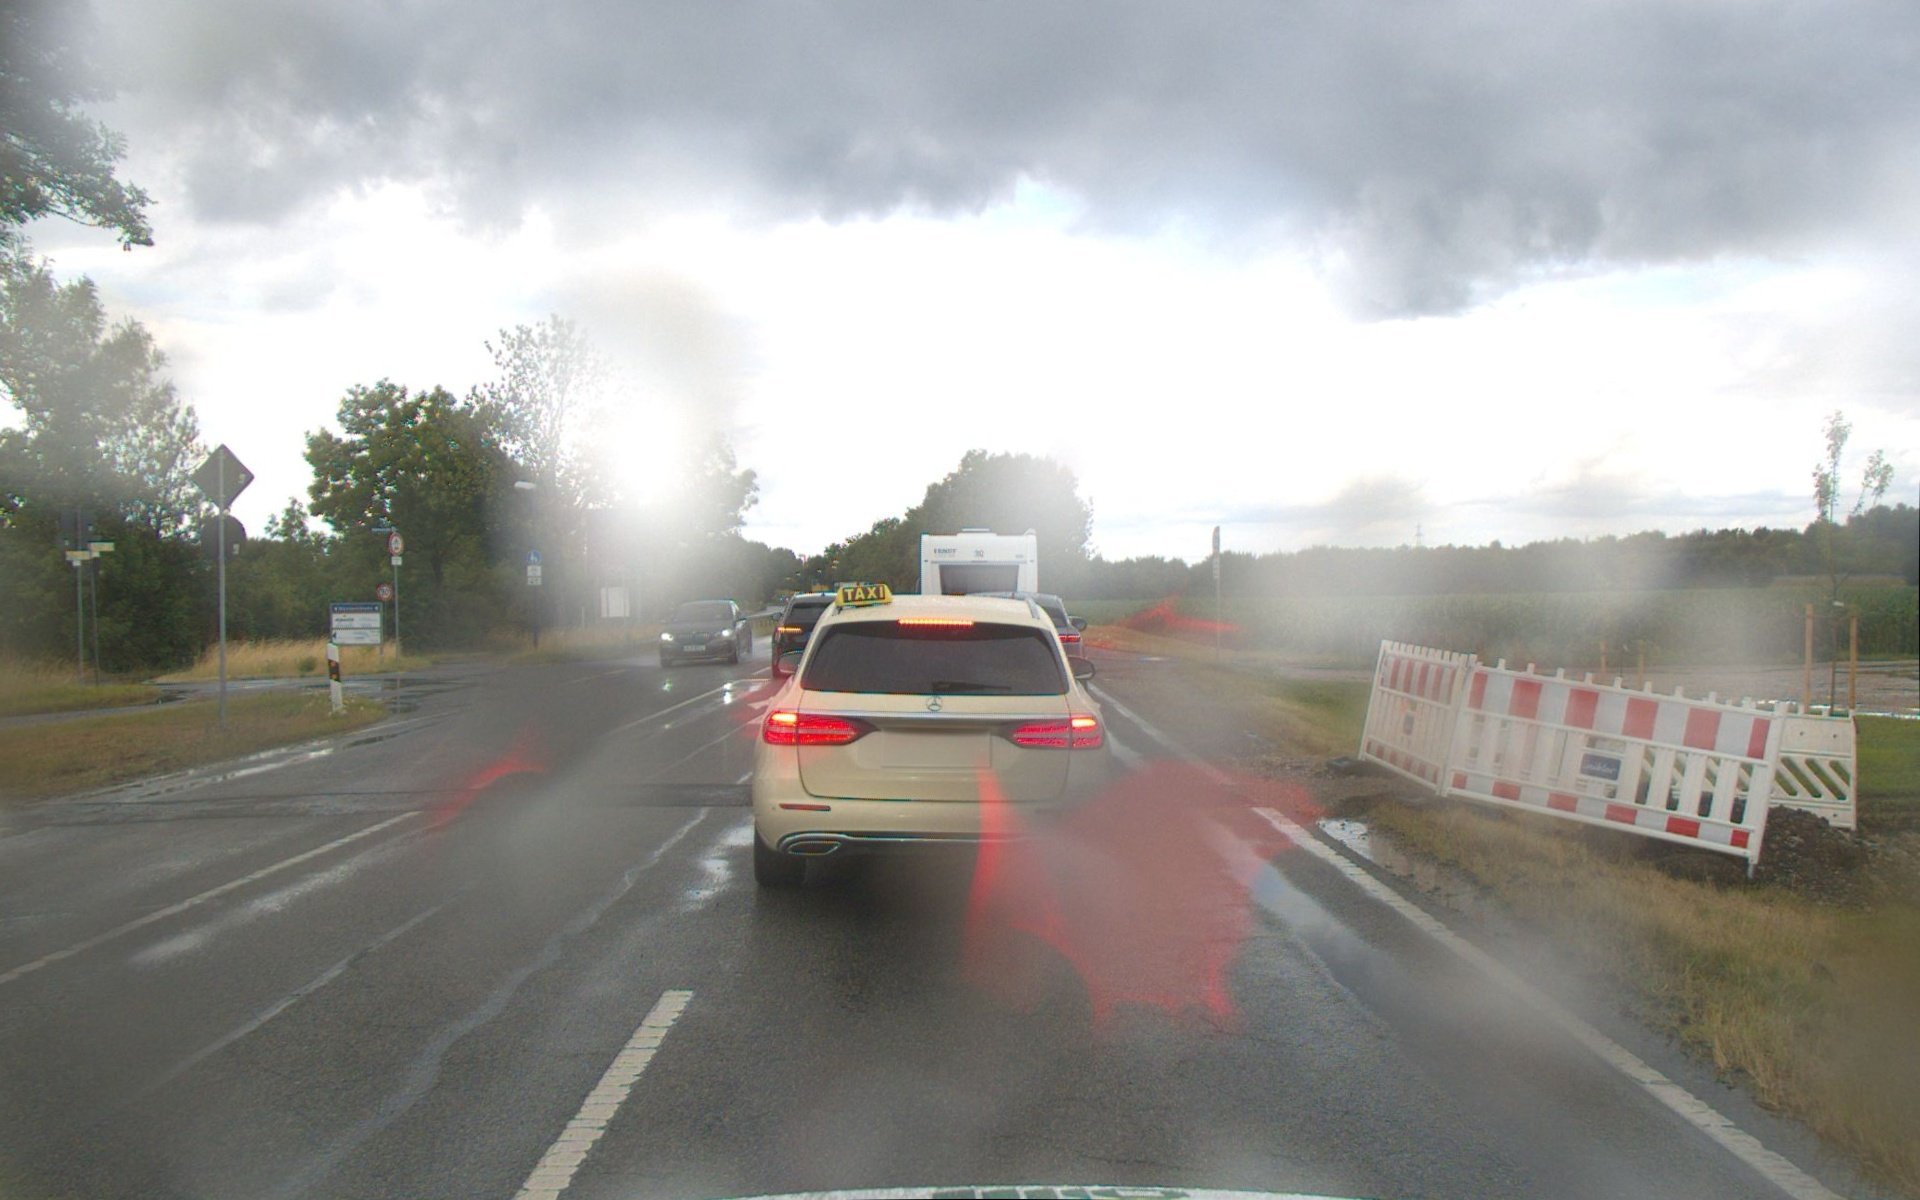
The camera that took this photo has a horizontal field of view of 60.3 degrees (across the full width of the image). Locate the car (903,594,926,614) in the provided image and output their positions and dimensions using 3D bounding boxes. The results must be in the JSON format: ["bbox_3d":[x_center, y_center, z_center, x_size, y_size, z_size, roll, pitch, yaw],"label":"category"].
[{"bbox_3d":[-4.341,0.342,156.884,1.954,1.803,3.996,-1,0,-5],"label":"car"}]

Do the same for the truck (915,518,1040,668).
[{"bbox_3d":[0.279,-0.145,34.919,2.315,2.776,7.313,-1,0,-1],"label":"truck"}]

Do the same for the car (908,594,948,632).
[{"bbox_3d":[-1.637,0.666,85.351,1.876,1.873,3.796,-1,0,1],"label":"car"}]

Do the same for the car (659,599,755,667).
[{"bbox_3d":[-5.875,0.741,38.805,1.685,1.429,4.042,-3,0,-2],"label":"car"}]

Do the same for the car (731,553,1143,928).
[{"bbox_3d":[-0.127,0.619,9.289,1.805,1.646,3.999,0,0,-1],"label":"car"}]

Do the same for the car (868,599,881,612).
[{"bbox_3d":[-12.772,0.777,246.699,1.857,1.871,3.881,-1,0,-1],"label":"car"}]

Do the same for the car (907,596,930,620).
[{"bbox_3d":[-3.207,0.641,129.330,1.755,1.808,3.720,-1,0,-1],"label":"car"}]

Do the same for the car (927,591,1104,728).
[{"bbox_3d":[0.591,0.668,20.401,1.953,1.488,3.999,1,0,-1],"label":"car"}]

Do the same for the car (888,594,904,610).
[{"bbox_3d":[-8.150,0.247,210.208,1.858,1.928,3.840,-1,0,-4],"label":"car"}]

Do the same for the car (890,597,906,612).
[{"bbox_3d":[-7.444,0.499,197.233,1.714,1.691,3.669,-1,0,-5],"label":"car"}]

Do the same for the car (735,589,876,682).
[{"bbox_3d":[-2.792,0.612,30.994,2.255,1.574,4.631,1,0,-1],"label":"car"}]
